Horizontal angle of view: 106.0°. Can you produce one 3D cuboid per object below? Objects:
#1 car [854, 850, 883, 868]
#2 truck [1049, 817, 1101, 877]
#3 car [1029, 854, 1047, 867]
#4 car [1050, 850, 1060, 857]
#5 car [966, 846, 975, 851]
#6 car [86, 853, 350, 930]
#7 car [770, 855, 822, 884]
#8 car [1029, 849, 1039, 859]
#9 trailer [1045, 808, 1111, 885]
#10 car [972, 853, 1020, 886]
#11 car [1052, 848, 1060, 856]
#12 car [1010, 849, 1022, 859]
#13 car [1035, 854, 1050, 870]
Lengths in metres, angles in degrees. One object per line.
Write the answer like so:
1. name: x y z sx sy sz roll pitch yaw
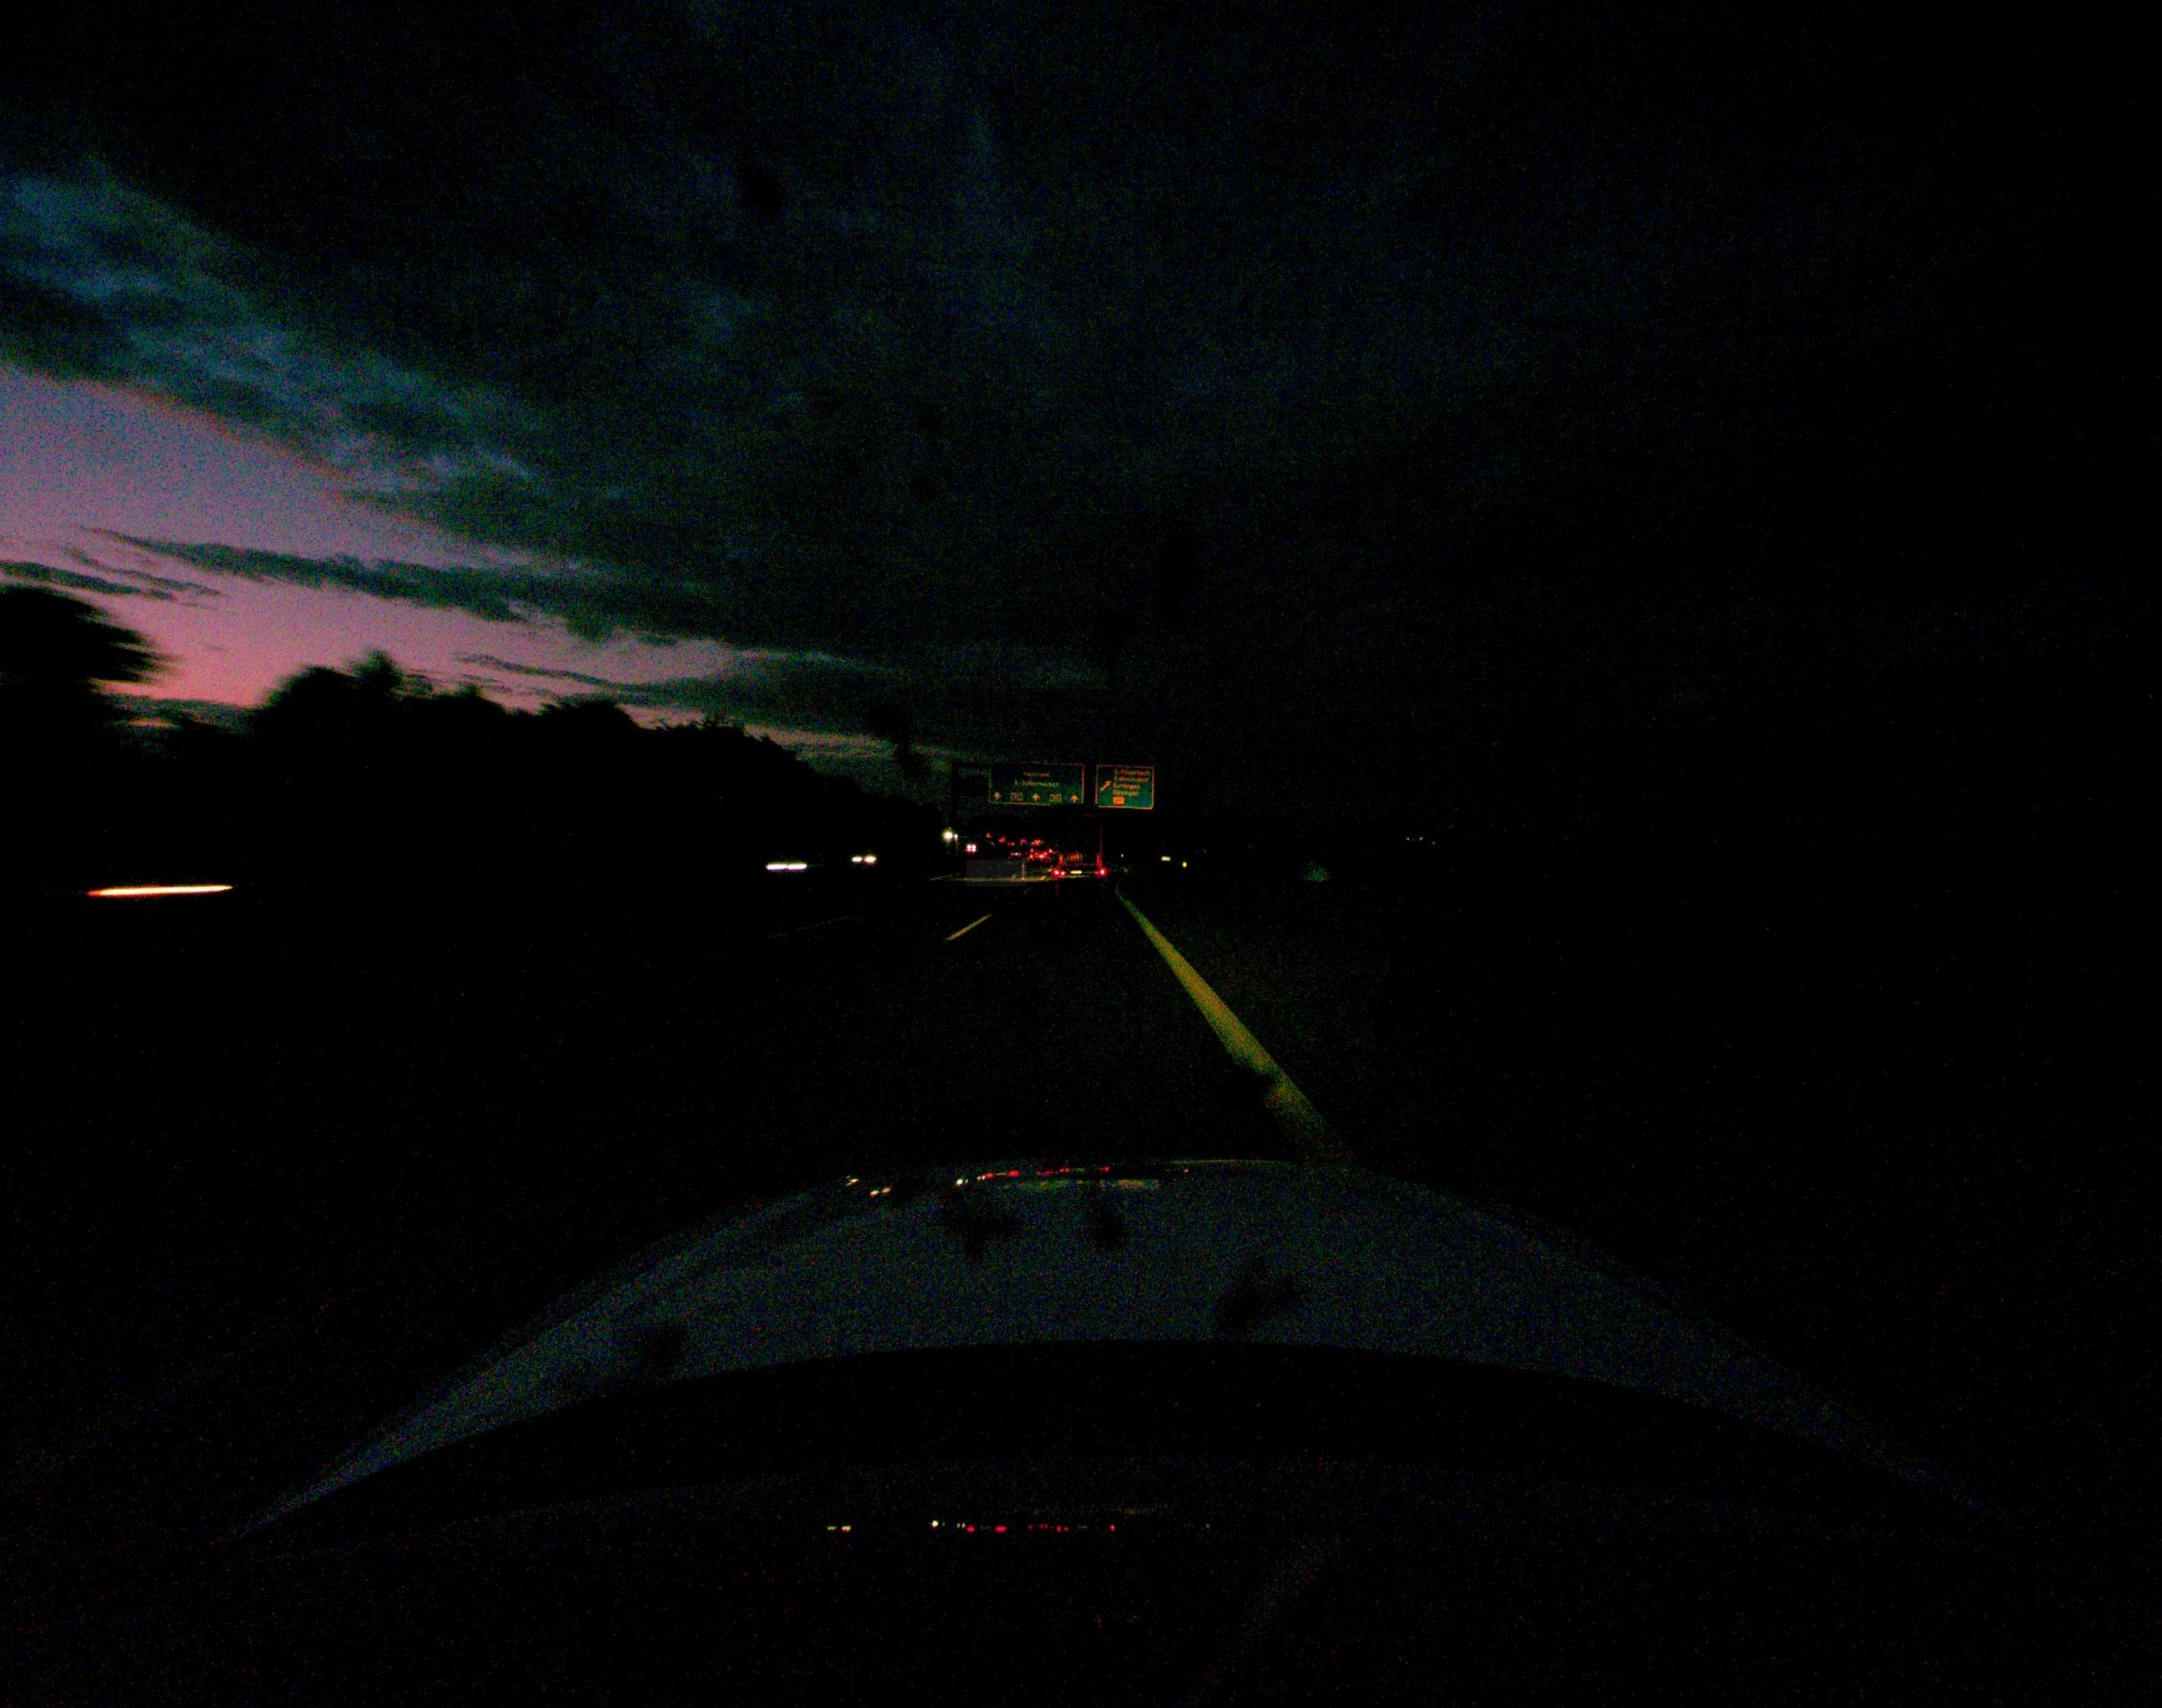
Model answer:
1. car: -23.506 0.605 90.251 1.988 1.893 4.675 1 -1 -2
2. truck: -0.427 -0.524 59.266 3.540 4.091 6.148 -1 0 -1
3. car: -5.541 0.845 105.258 2.059 1.686 4.574 1 -1 -1
4. car: -5.600 -0.074 174.273 1.988 1.534 3.997 1 -1 -1
5. car: -30.766 -1.583 226.440 1.988 1.419 4.149 1 0 -2
6. car: -24.006 0.998 23.042 1.987 1.893 5.057 1 -1 0
7. car: -19.929 1.088 57.192 1.869 1.893 5.057 1 -1 0
8. car: -9.806 0.098 170.392 1.987 2.014 3.999 1 -1 0
9. trailer: -0.293 -0.467 52.028 3.540 4.116 15.056 -1 0 -1
10. car: -4.294 0.802 41.704 1.900 1.614 4.803 1 -1 0
11. car: -6.397 -0.604 210.743 1.987 1.978 3.998 1 -1 -1
12. car: -11.198 0.021 139.663 1.756 1.575 4.574 1 -1 -1
13. car: -5.863 1.209 123.709 1.991 2.381 3.992 1 -1 -5
